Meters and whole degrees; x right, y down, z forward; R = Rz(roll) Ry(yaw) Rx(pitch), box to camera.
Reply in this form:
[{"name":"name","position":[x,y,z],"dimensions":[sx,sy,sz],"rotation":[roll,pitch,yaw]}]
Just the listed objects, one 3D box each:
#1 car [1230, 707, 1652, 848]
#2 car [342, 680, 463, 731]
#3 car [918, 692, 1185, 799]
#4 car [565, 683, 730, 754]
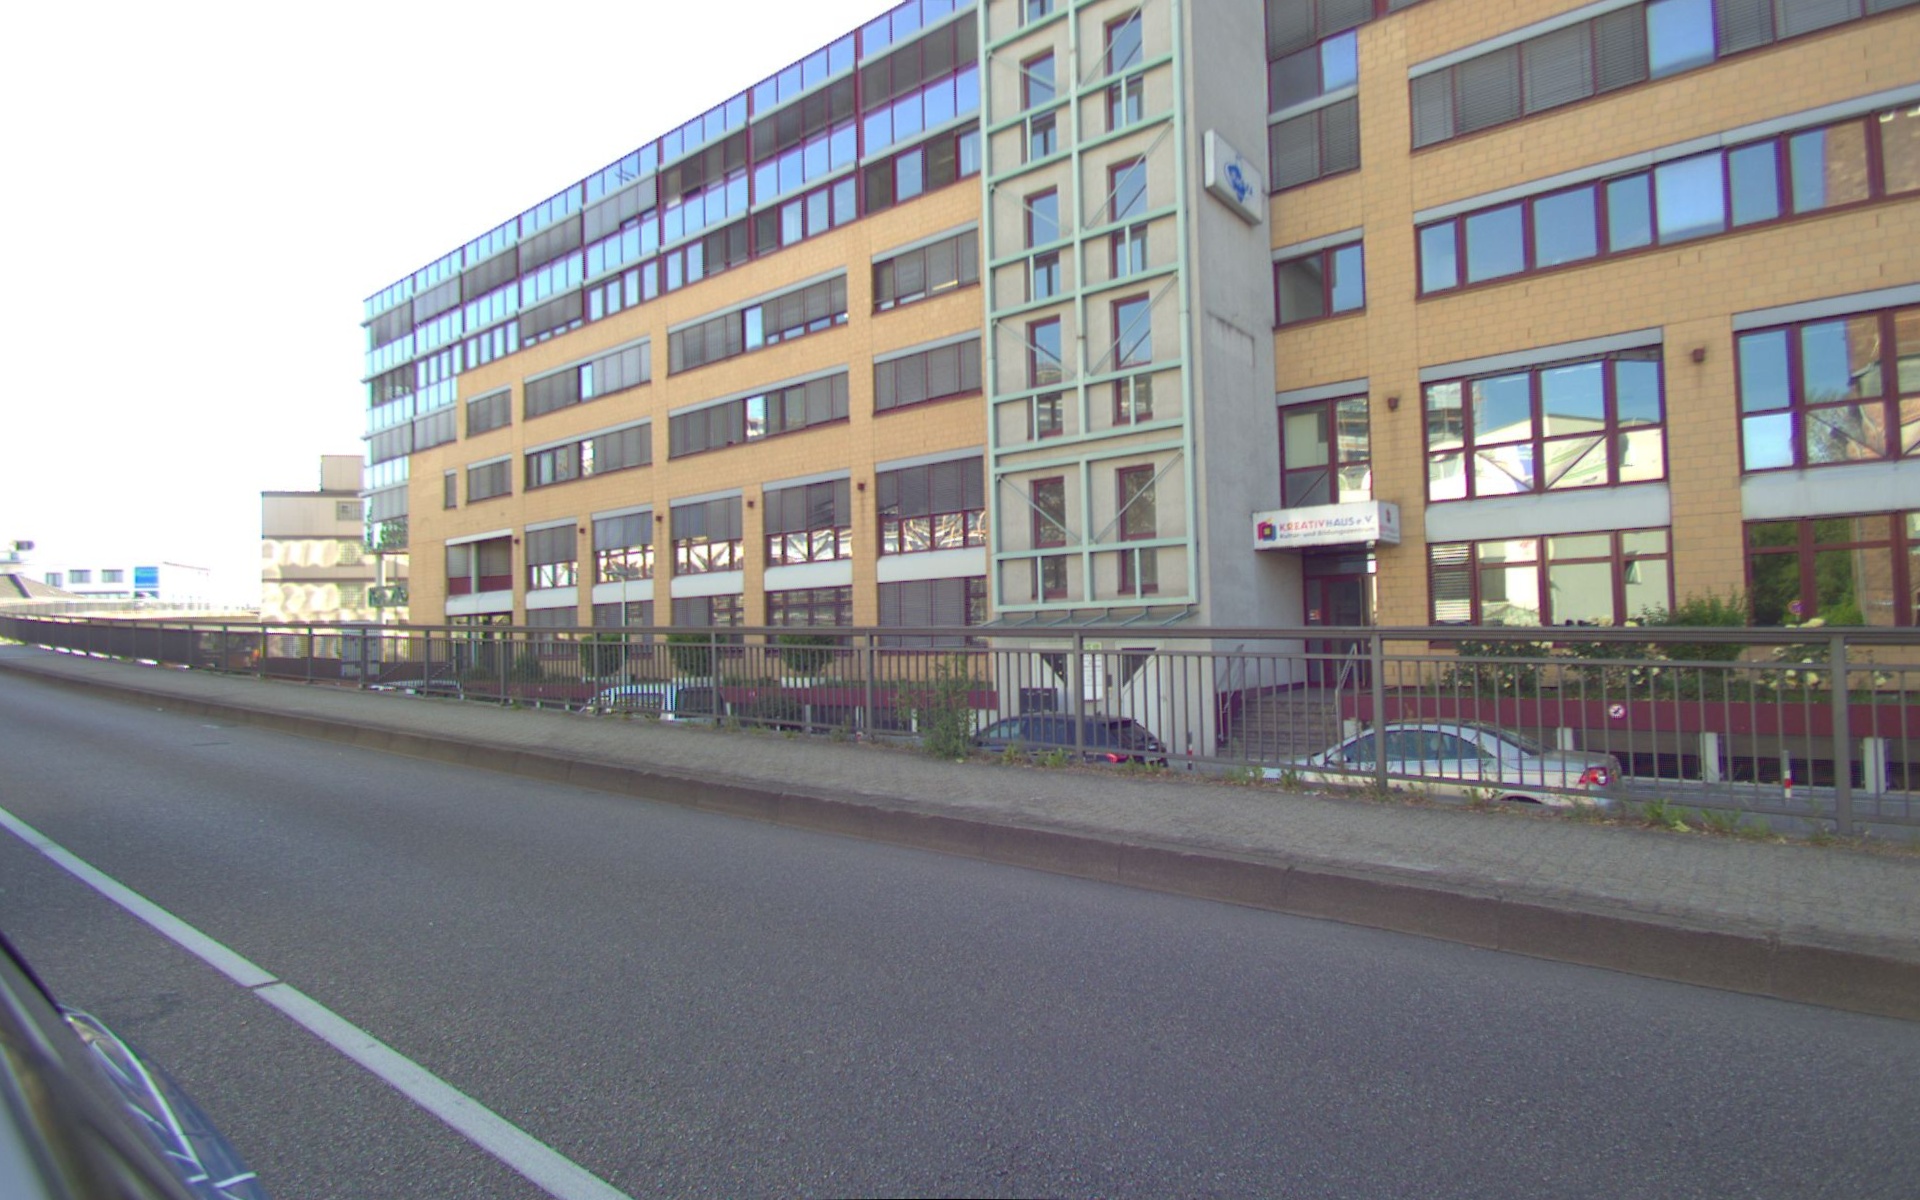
[{"name":"car","position":[5.577,1.964,12.042],"dimensions":[4.253,1.175,1.704],"rotation":[-3,-4,39]},{"name":"car","position":[-16.123,2.987,29.211],"dimensions":[3.804,1.279,1.744],"rotation":[-3,-4,39]},{"name":"car","position":[1.306,2.111,15.315],"dimensions":[3.804,1.279,1.560],"rotation":[-3,-4,39]},{"name":"car","position":[-6.792,2.494,21.846],"dimensions":[3.804,1.279,1.560],"rotation":[-3,-4,39]}]
